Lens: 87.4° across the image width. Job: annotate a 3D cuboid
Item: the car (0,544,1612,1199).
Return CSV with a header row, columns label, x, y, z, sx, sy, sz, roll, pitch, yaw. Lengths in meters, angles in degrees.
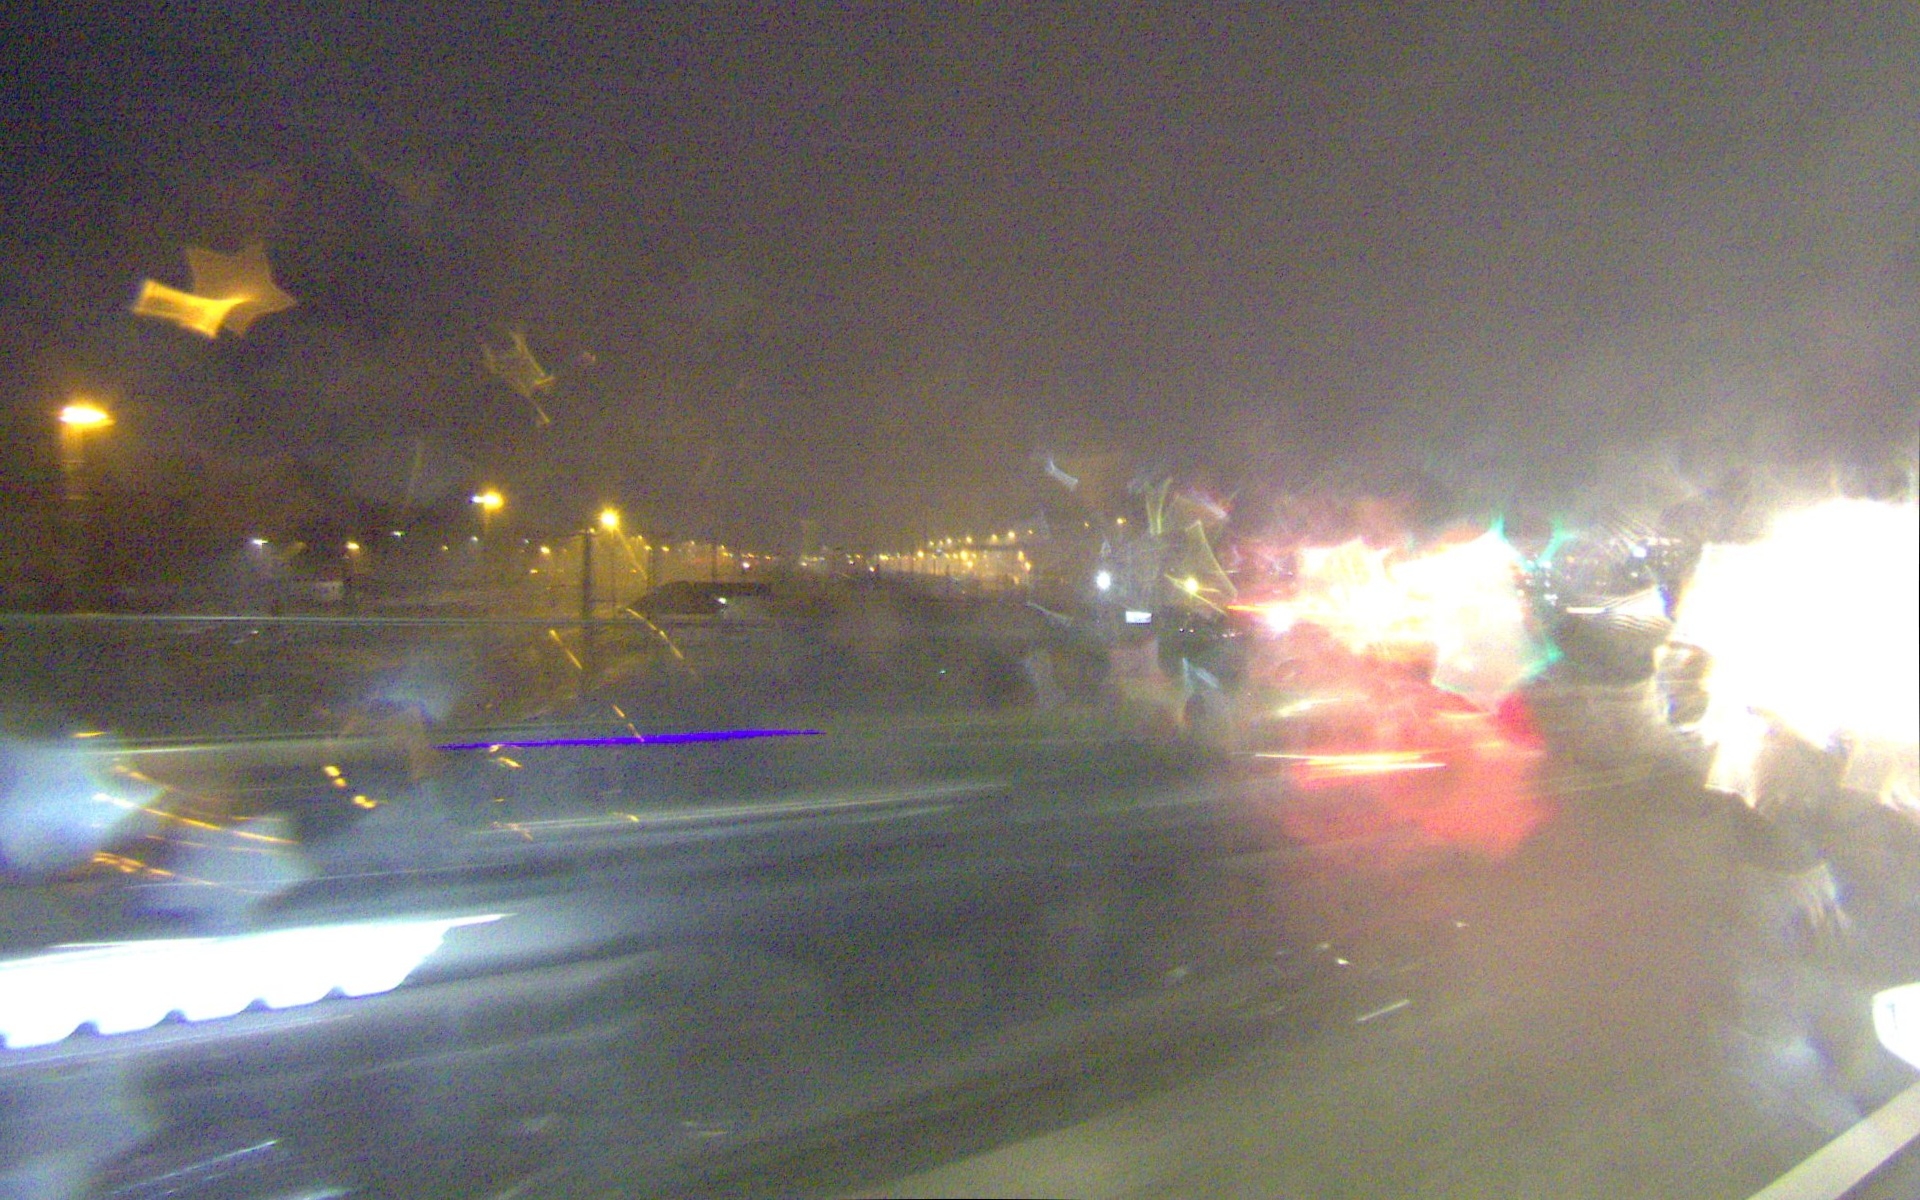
label,x,y,z,sx,sy,sz,roll,pitch,yaw
car,0.092,0.702,3.517,4.682,1.588,1.887,0,1,-32
